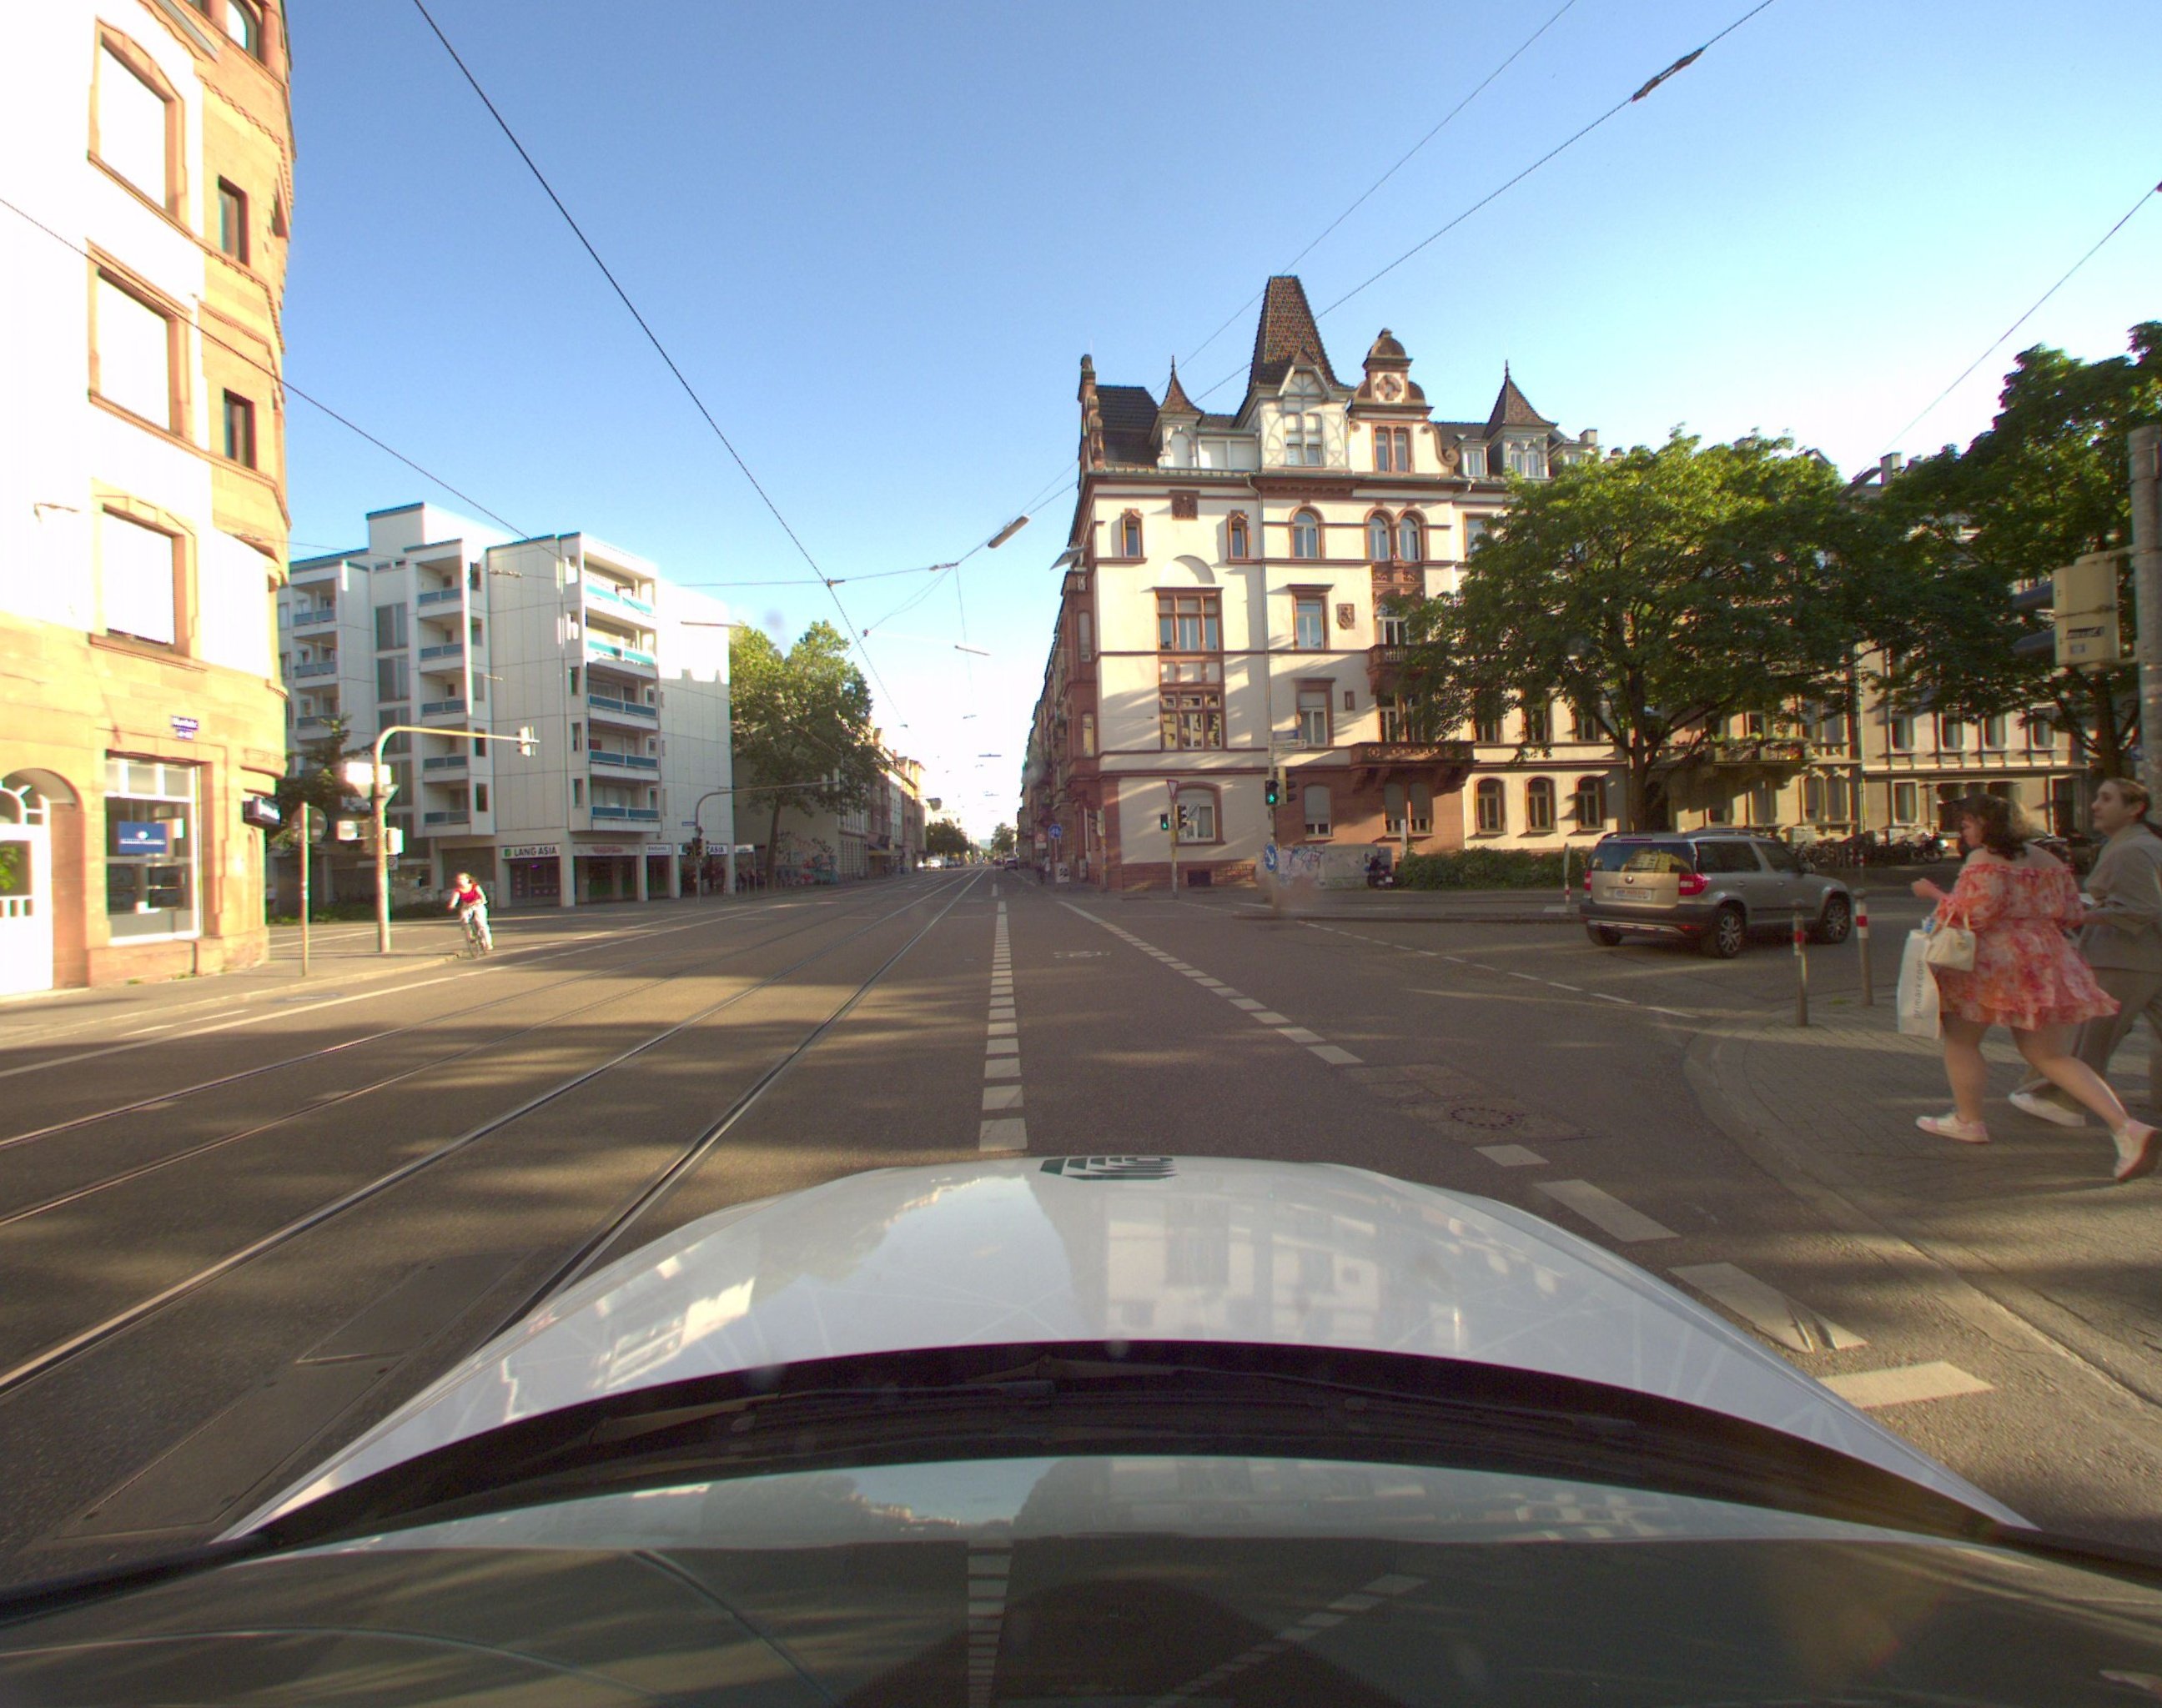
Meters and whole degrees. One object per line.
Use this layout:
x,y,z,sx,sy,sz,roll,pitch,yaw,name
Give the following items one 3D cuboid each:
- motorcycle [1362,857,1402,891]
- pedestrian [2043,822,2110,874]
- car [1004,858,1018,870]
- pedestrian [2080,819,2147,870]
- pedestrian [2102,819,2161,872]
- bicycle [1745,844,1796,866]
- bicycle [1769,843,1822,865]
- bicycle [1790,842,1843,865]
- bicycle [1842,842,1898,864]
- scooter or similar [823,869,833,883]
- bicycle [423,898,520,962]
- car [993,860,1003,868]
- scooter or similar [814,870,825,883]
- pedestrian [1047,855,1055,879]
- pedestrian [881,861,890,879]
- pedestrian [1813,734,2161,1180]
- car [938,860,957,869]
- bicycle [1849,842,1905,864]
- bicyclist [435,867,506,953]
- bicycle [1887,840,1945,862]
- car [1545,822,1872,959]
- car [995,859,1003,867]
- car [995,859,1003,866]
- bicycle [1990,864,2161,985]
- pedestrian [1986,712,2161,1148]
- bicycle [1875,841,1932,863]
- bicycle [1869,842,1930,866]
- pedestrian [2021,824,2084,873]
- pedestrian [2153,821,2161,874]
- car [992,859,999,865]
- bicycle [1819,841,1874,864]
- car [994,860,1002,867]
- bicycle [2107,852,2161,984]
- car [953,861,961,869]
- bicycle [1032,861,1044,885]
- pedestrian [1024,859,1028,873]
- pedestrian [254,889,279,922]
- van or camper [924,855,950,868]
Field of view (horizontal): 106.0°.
10.300,0.669,27.979,0.715,1.020,2.291,-2,2,6,motorcycle
29.480,-0.172,24.137,0.903,1.428,0.770,-6,-2,27,pedestrian
-9.969,1.432,115.839,1.947,1.684,3.993,-2,0,-5,car
31.012,-0.282,24.476,0.904,1.428,0.770,-6,-2,26,pedestrian
30.428,-0.232,23.467,0.903,1.428,0.770,-6,-2,27,pedestrian
28.382,0.041,33.542,0.490,0.893,1.795,-2,0,-3,bicycle
29.433,0.010,33.576,0.490,0.893,1.795,-2,0,-3,bicycle
30.316,-0.015,33.596,0.490,0.893,1.795,-2,0,-3,bicycle
32.757,-0.031,33.838,0.490,0.893,1.795,-2,0,-3,bicycle
-20.401,1.766,65.604,0.516,1.057,1.474,-2,0,-8,scooter or similar
-12.316,1.503,16.529,0.696,1.109,1.893,-2,0,-7,bicycle
-16.822,2.036,165.605,1.991,1.728,3.990,-2,-1,-7,car
-21.035,1.789,65.495,0.516,1.045,1.474,-2,0,-8,scooter or similar
-2.219,0.942,60.016,0.544,1.780,0.503,-2,-1,-6,pedestrian
-19.908,1.635,82.905,0.700,1.728,0.646,-2,0,-6,pedestrian
4.253,0.426,3.816,0.804,1.799,0.760,-6,1,-4,pedestrian
-32.650,2.603,198.965,4.013,2.013,1.980,-2,0,-31,car
33.410,-0.050,34.197,0.490,0.893,1.795,-2,0,-3,bicycle
-12.314,1.100,16.455,0.700,1.643,0.988,-2,0,-7,bicyclist
35.260,-0.101,34.409,0.490,0.893,1.795,-2,0,-3,bicycle
9.039,0.453,11.773,4.004,1.618,1.985,-2,-1,-23,car
-19.180,2.076,190.439,1.991,1.728,3.990,-2,-1,-7,car
-19.734,2.058,195.525,1.991,1.728,3.990,-2,-1,-7,car
9.579,0.630,7.682,0.774,1.045,1.064,-2,-2,3,bicycle
5.034,0.332,3.822,0.690,1.909,0.668,-3,-2,-7,pedestrian
34.609,-0.083,34.312,0.490,0.893,1.795,-2,0,-3,bicycle
33.019,-0.016,32.856,1.781,0.893,0.494,-2,0,8,bicycle
29.906,-0.171,25.091,0.904,1.428,0.770,-6,-2,26,pedestrian
29.350,-0.204,21.505,0.904,1.428,0.770,-6,-2,26,pedestrian
-24.990,2.398,237.247,1.991,1.728,3.990,-2,-1,-7,car
31.805,-0.055,33.850,0.490,0.893,1.795,-2,0,-3,bicycle
-20.913,2.401,204.510,1.991,1.728,3.990,-2,-1,-7,car
10.343,0.576,7.002,0.502,1.223,1.919,-2,-2,-2,bicycle
-34.374,3.018,225.407,1.992,2.013,3.990,-2,0,-7,car
-2.476,1.062,47.046,0.652,1.323,2.174,-2,0,-4,bicycle
-7.236,1.571,107.036,0.544,1.780,0.748,-2,-1,-5,pedestrian
-43.344,2.731,43.347,0.641,1.696,0.665,-2,-1,17,pedestrian
-29.039,1.498,164.076,4.671,2.563,1.977,-1,-1,-37,van or camper
